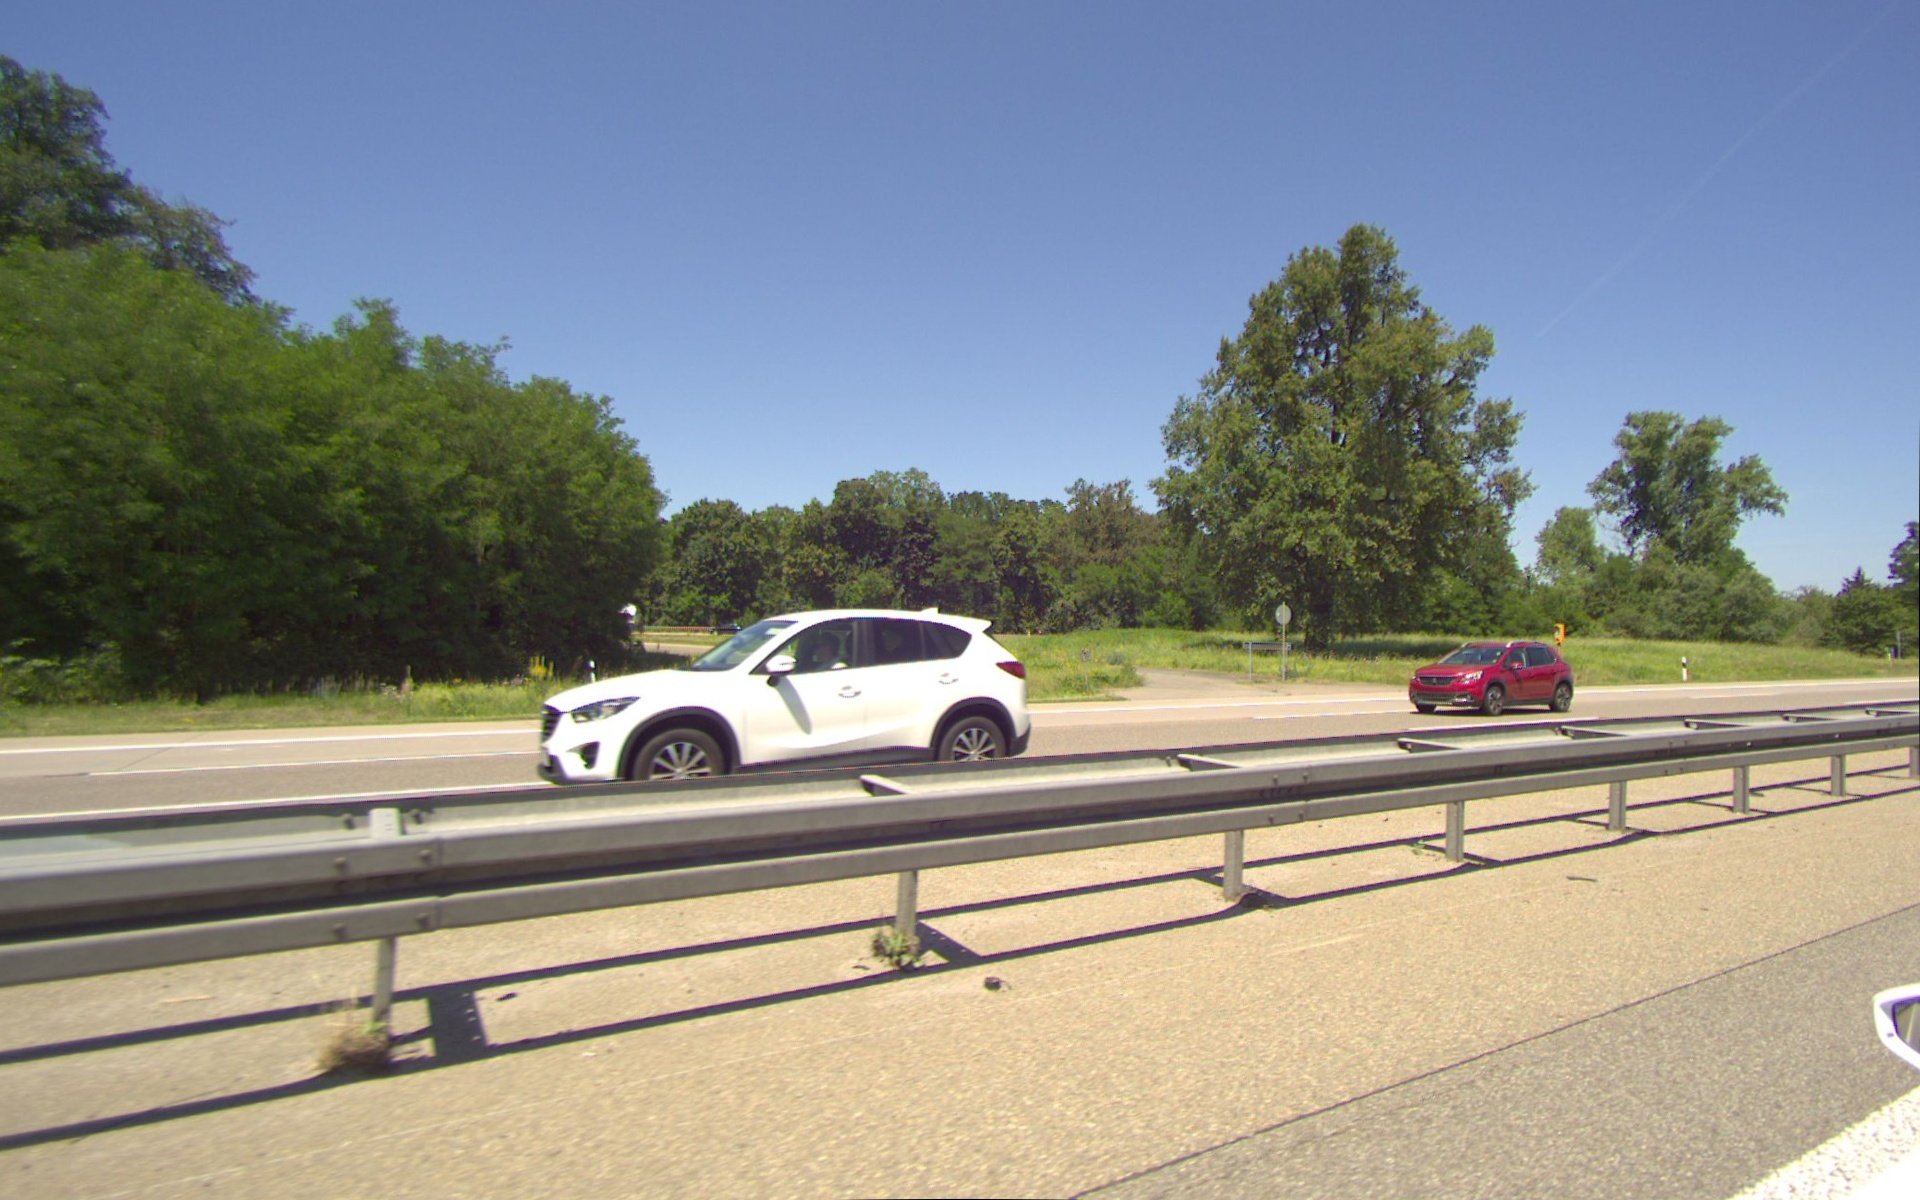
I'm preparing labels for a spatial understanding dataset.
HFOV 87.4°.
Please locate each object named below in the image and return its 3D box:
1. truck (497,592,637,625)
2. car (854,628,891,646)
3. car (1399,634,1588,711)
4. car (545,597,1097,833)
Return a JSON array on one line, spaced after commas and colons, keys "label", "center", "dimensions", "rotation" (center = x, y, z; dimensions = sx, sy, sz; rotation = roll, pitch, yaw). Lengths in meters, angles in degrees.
[{"label": "truck", "center": [-44.415, 0.983, 113.976], "dimensions": [14.511, 3.326, 2.703], "rotation": [2, 0, -9]}, {"label": "car", "center": [-9.894, 4.213, 113.712], "dimensions": [3.919, 1.840, 1.788], "rotation": [2, 0, 8]}, {"label": "car", "center": [11.537, 1.520, 21.671], "dimensions": [4.028, 1.514, 1.754], "rotation": [2, -3, -31]}, {"label": "car", "center": [-1.152, 0.914, 9.292], "dimensions": [4.763, 1.715, 1.754], "rotation": [2, -2, -31]}]
